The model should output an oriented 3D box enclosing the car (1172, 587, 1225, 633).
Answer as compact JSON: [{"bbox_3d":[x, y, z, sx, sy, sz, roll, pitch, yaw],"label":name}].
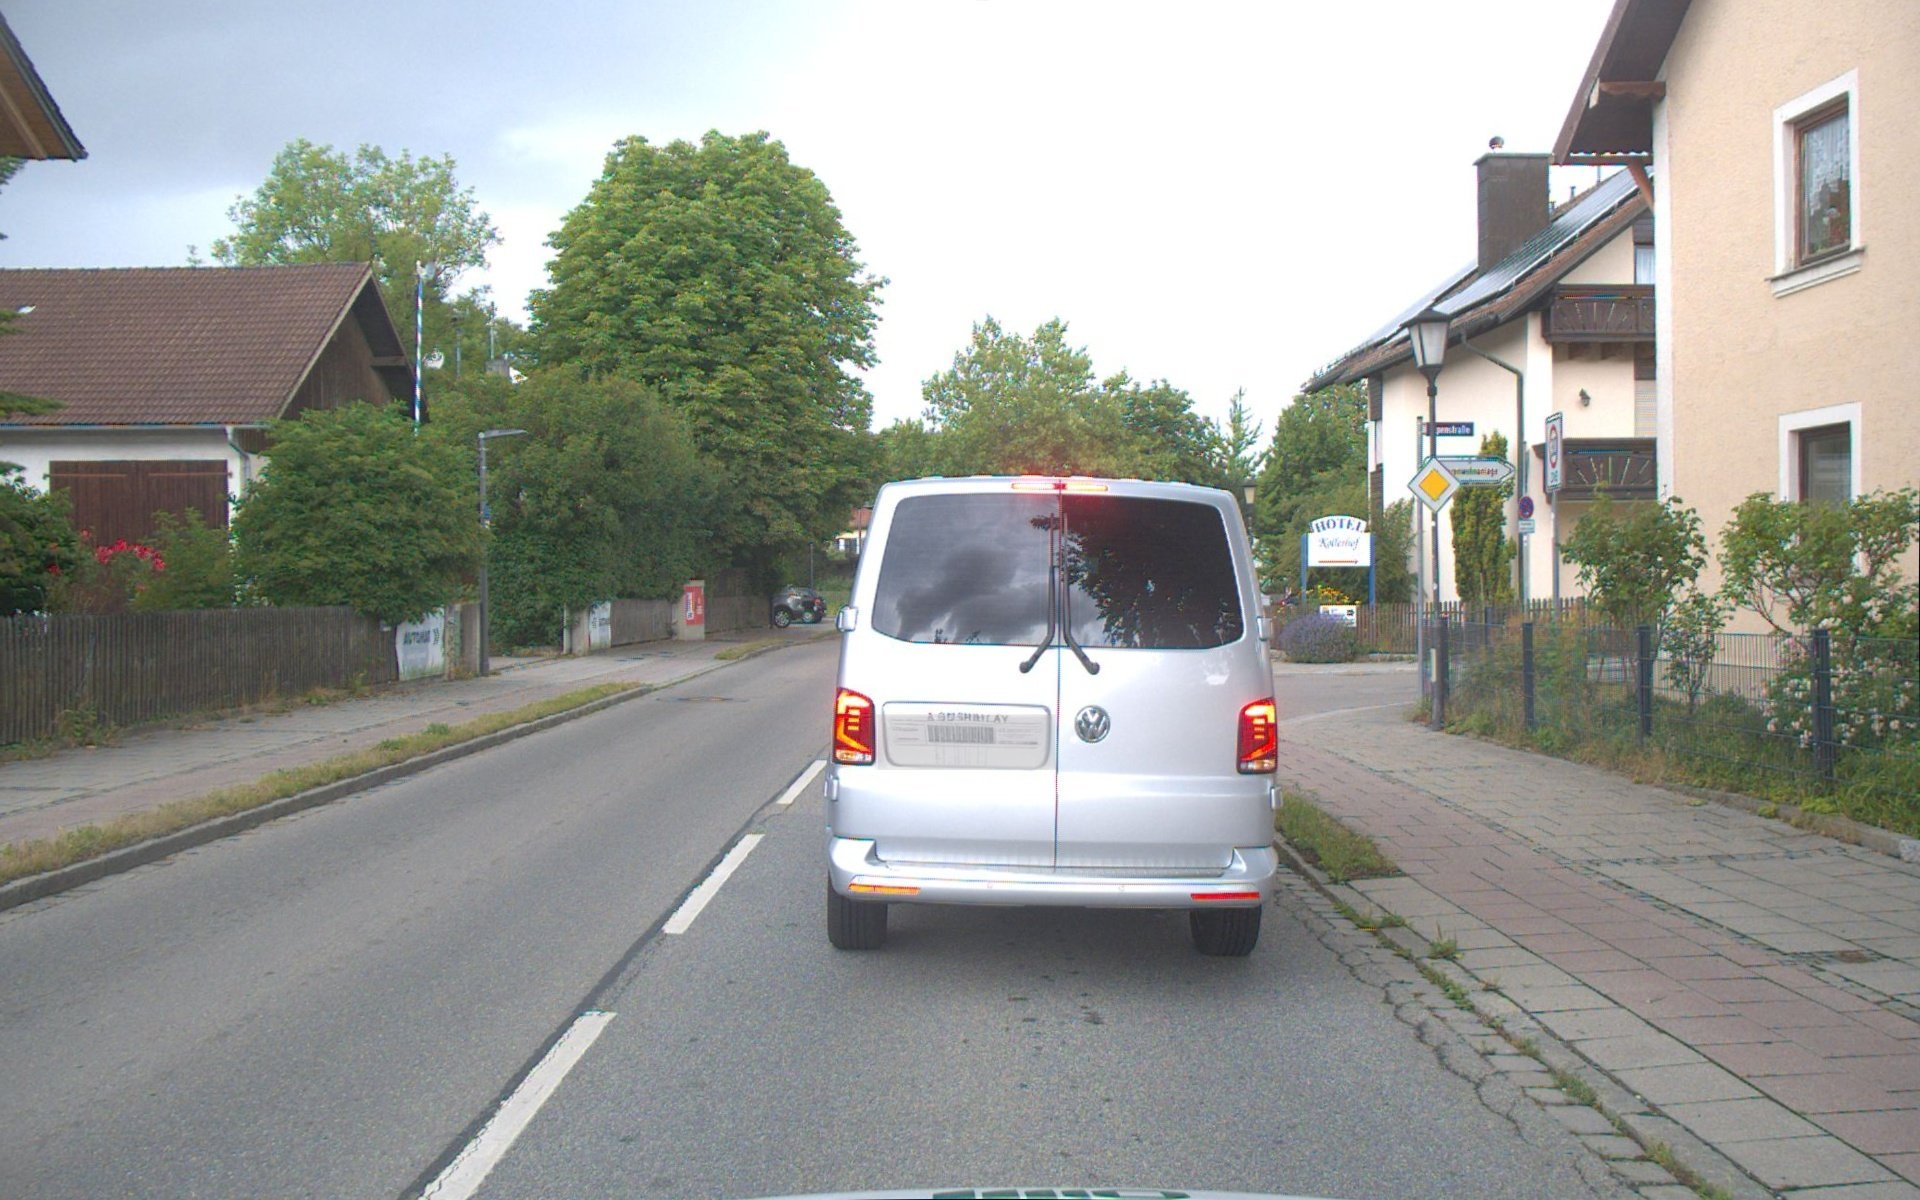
[{"bbox_3d":[9.512,0.367,65.758,1.841,1.779,4.084,0,0,12],"label":"car"}]

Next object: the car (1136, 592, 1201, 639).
[{"bbox_3d":[7.265,0.498,57.402,1.841,1.562,3.924,0,0,13],"label":"car"}]

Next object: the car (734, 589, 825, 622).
[{"bbox_3d":[-7.574,0.234,69.315,3.683,1.369,1.579,0,0,-11],"label":"car"}]

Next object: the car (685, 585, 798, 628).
[{"bbox_3d":[-7.788,0.231,58.993,3.913,1.512,1.996,0,0,-9],"label":"car"}]

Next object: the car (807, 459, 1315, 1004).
[{"bbox_3d":[0.374,0.467,7.991,1.843,1.974,3.920,0,0,0],"label":"car"}]

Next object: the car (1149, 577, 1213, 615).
[{"bbox_3d":[11.290,-0.207,84.331,1.847,1.857,3.912,-1,0,31],"label":"car"}]

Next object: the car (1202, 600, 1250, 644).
[{"bbox_3d":[11.756,0.927,73.017,1.841,1.857,3.924,0,0,13],"label":"car"}]

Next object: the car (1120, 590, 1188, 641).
[{"bbox_3d":[6.221,0.453,52.654,1.841,1.562,3.924,0,0,11],"label":"car"}]
